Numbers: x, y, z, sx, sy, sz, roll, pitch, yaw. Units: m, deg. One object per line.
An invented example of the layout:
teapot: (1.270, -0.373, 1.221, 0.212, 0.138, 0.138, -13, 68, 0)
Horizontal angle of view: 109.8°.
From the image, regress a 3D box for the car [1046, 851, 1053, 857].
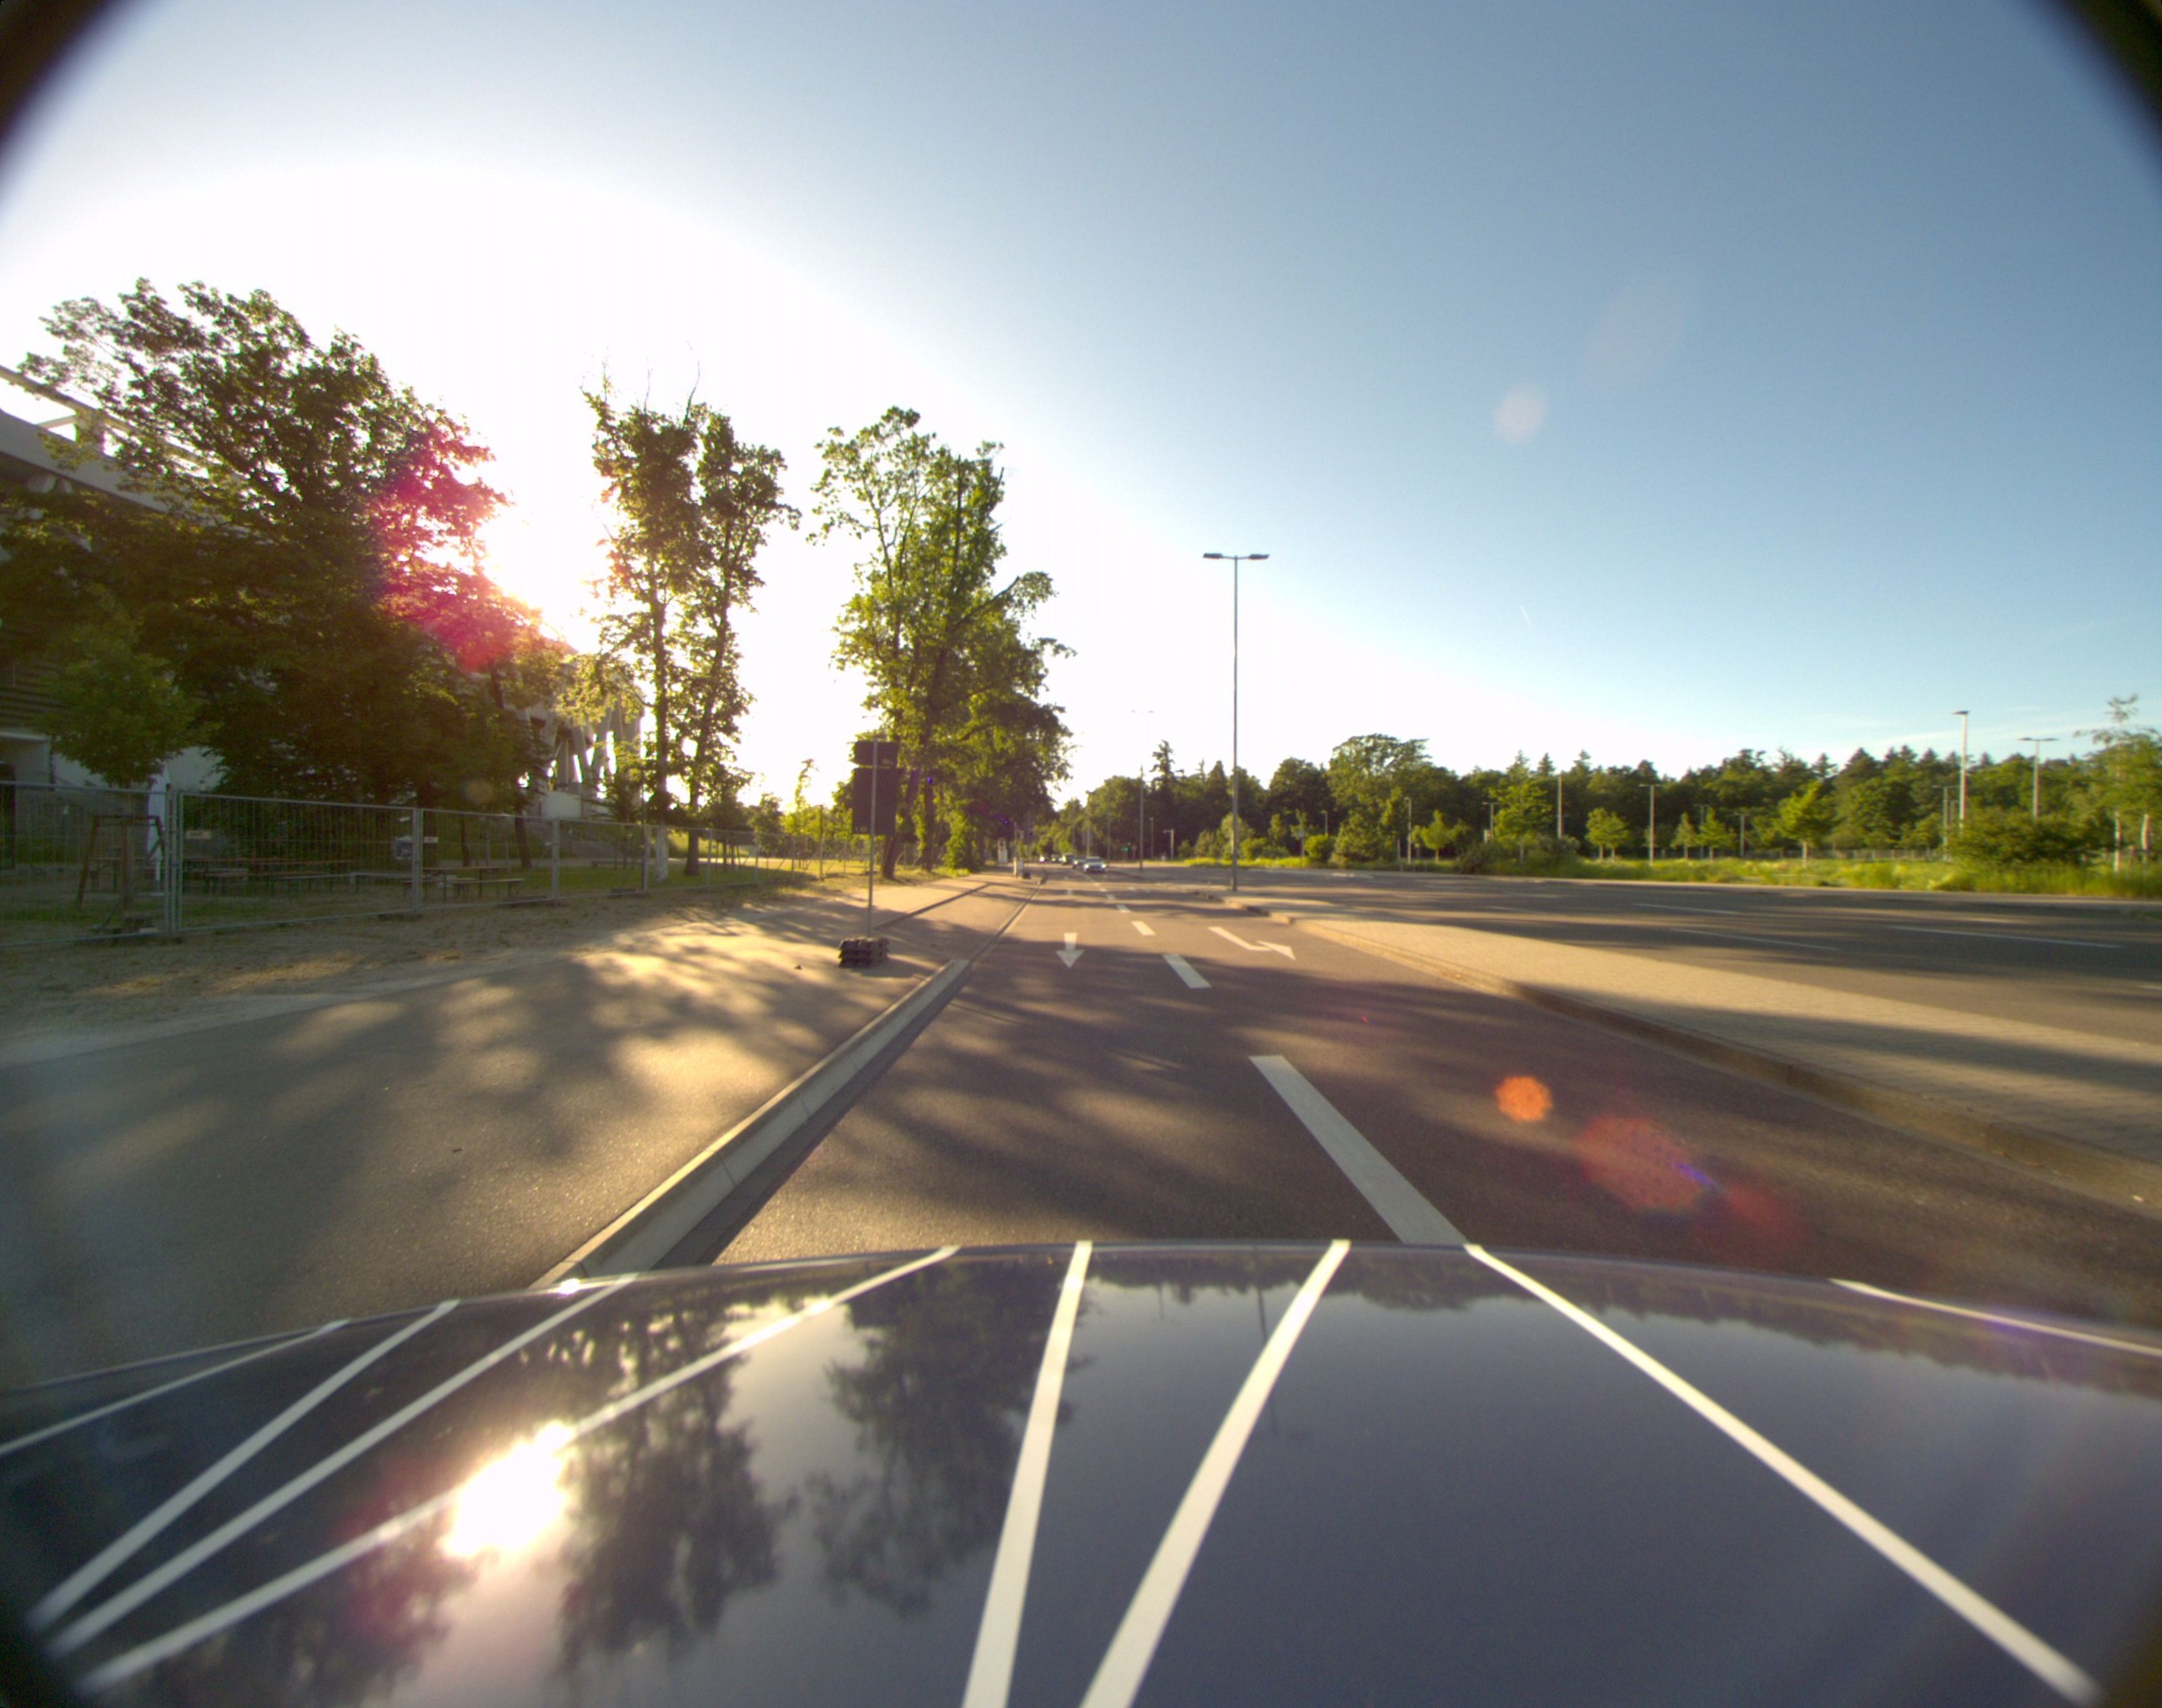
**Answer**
car: (-8.767, -0.026, 210.064, 1.842, 1.395, 4.989, -1, 0, -4)

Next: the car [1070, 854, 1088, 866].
car: (-0.238, 0.662, 91.413, 1.841, 1.395, 4.990, -1, 0, -3)

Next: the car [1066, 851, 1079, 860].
car: (-1.281, 0.200, 117.182, 1.841, 1.395, 4.990, -1, 0, -2)

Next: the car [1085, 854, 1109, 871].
car: (1.353, 0.714, 66.024, 1.841, 1.395, 3.999, -1, 0, -2)

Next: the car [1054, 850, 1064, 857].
car: (-4.419, -0.055, 151.101, 1.841, 1.395, 4.990, -1, 0, -2)
